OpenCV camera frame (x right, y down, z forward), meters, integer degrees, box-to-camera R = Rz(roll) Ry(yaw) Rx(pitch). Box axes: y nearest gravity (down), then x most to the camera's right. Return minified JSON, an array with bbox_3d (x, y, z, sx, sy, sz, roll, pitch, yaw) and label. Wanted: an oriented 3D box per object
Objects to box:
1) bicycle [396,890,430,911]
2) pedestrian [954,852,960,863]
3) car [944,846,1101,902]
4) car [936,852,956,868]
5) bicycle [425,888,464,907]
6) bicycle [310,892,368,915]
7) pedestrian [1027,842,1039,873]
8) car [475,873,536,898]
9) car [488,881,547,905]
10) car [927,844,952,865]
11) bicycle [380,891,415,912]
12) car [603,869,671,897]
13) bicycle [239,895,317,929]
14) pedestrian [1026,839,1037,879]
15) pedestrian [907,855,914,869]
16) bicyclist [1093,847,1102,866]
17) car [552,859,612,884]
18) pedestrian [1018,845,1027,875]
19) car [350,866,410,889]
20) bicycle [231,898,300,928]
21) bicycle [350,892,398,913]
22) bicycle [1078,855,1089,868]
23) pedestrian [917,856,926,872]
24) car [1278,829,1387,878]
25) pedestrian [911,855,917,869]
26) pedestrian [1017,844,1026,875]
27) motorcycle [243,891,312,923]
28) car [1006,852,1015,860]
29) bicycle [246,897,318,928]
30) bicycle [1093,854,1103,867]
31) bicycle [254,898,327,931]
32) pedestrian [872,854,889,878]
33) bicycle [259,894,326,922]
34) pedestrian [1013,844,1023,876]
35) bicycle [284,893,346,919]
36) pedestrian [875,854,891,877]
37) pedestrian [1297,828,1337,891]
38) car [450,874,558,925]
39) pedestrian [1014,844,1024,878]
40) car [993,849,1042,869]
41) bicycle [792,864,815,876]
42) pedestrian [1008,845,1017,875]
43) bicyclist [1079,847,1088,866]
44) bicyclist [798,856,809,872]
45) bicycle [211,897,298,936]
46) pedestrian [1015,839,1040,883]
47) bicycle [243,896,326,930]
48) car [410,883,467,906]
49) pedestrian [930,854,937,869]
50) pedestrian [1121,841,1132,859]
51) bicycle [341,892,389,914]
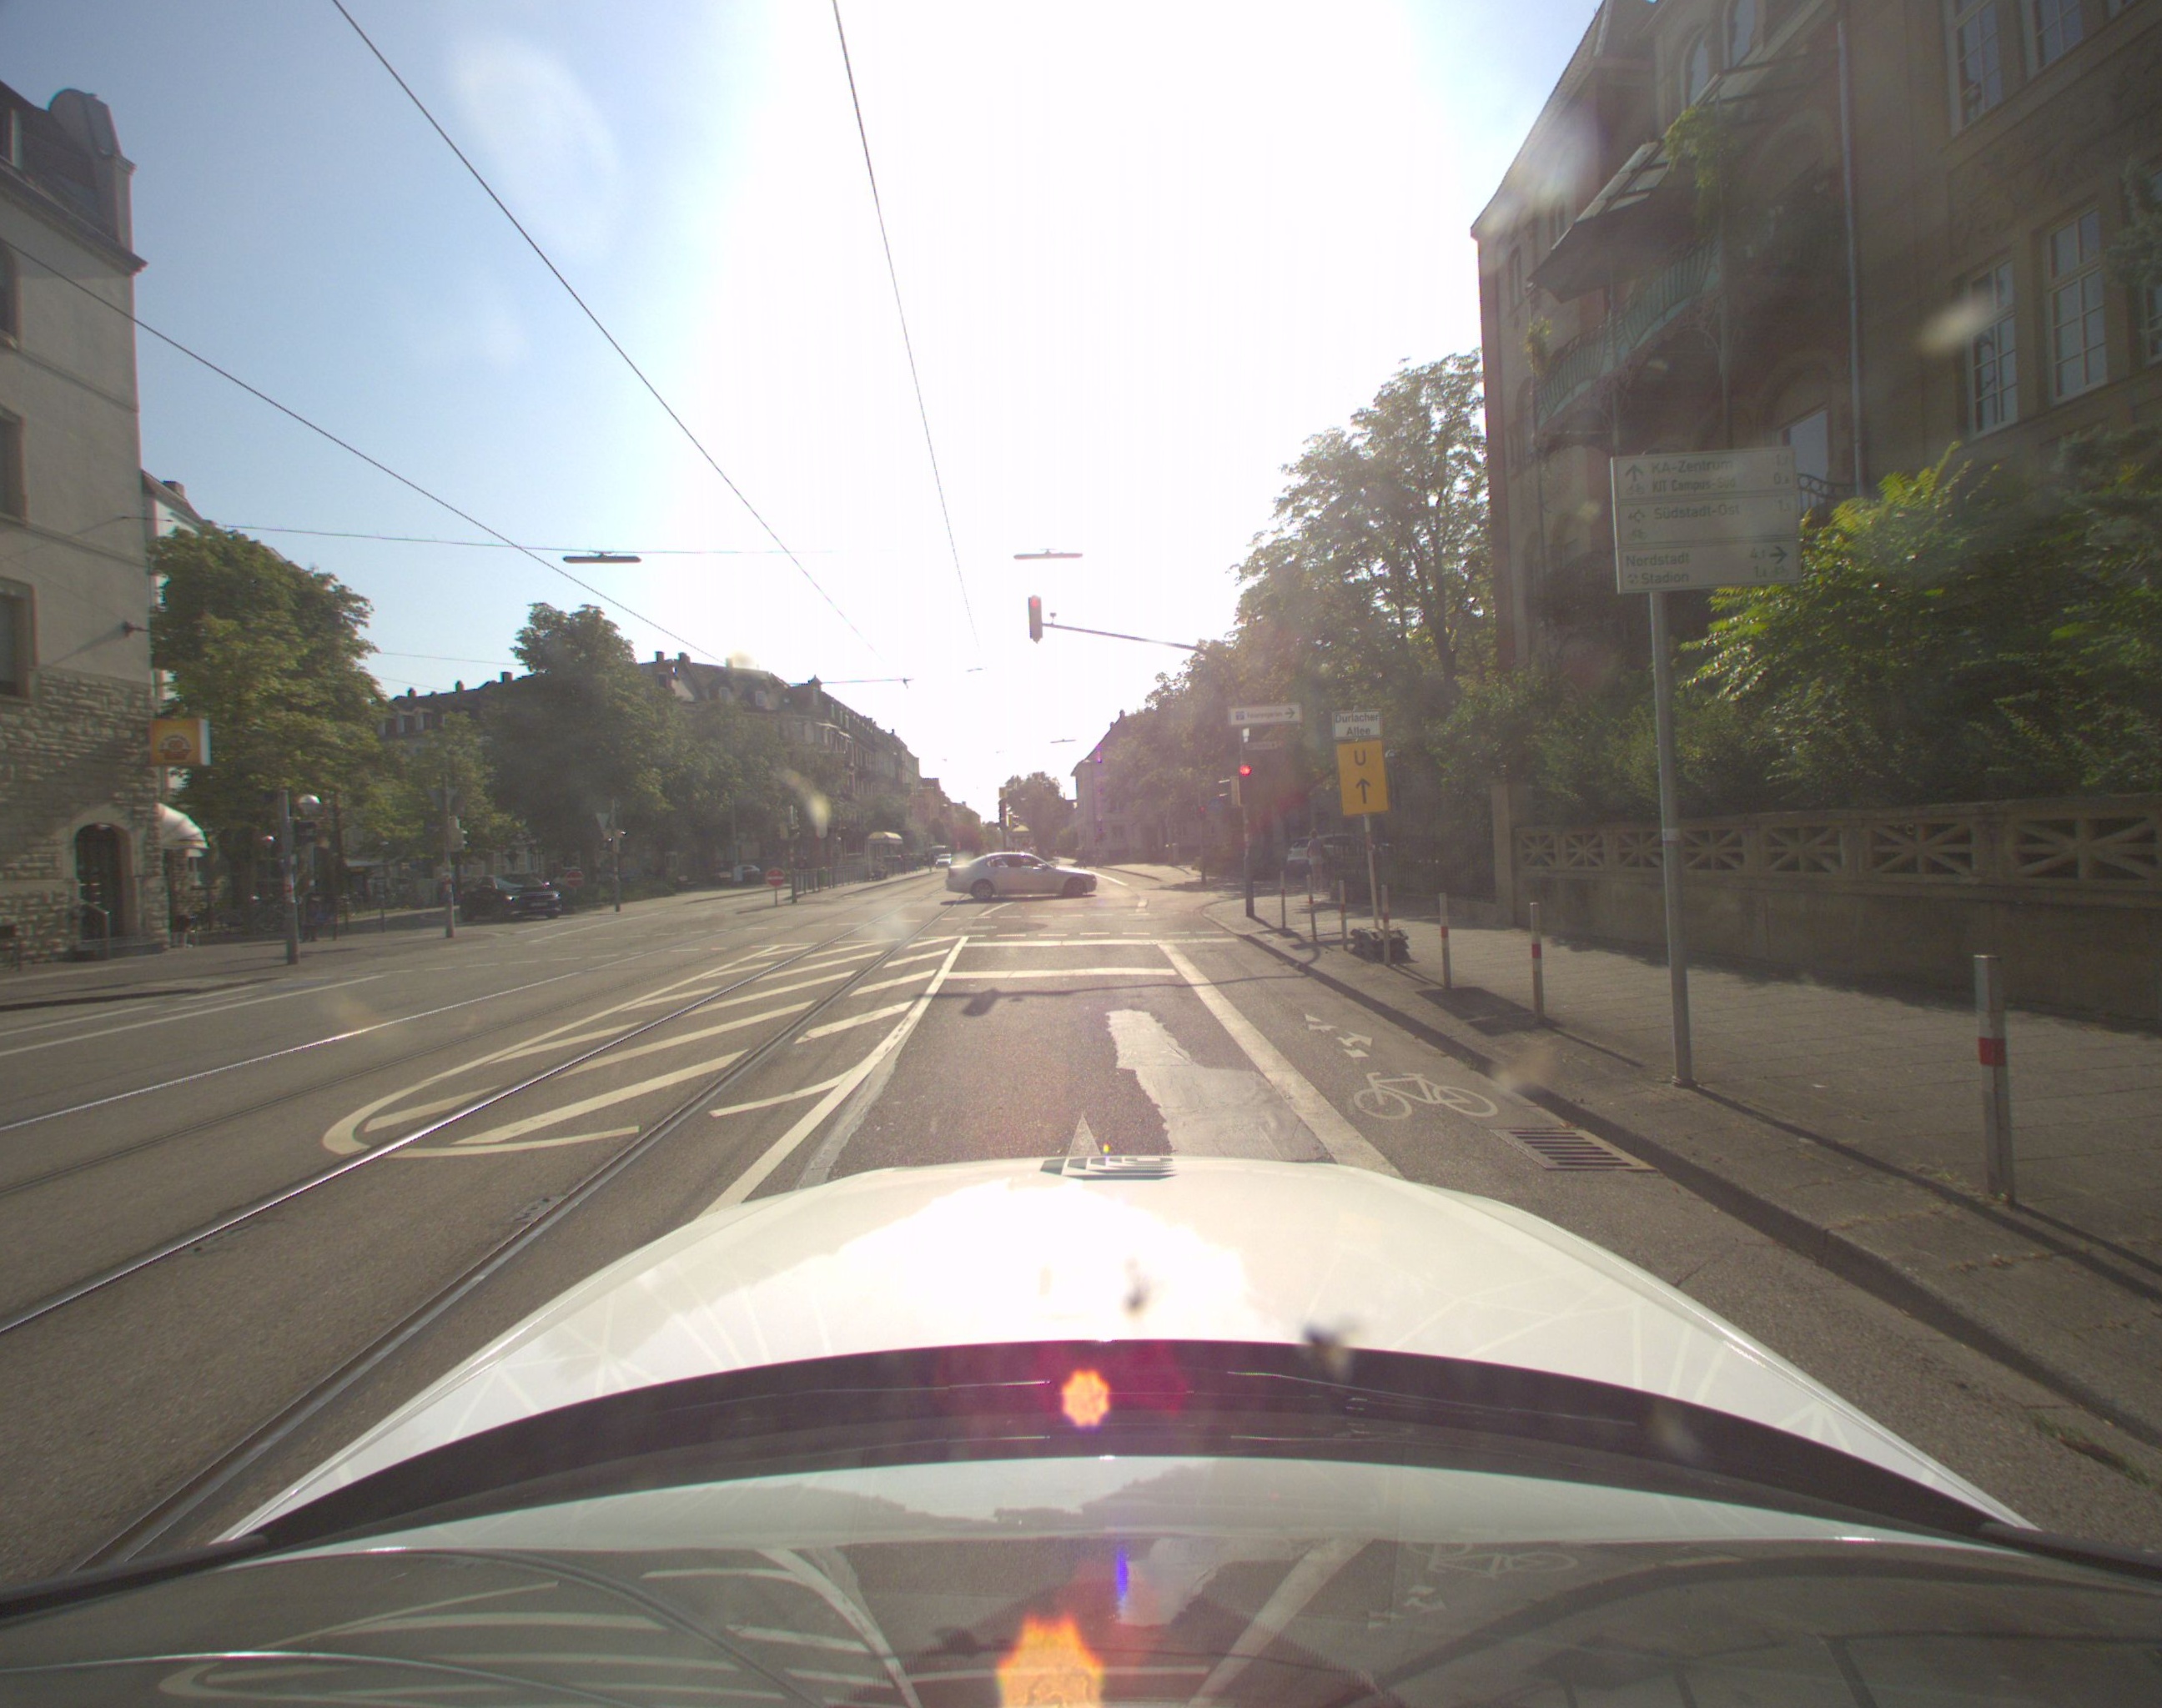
[{"bbox_3d":[-36.215,2.520,44.182,0.423,0.978,1.767,-3,1,-4],"label":"bicycle"},{"bbox_3d":[-20.960,0.553,137.734,0.751,1.731,0.768,-3,0,-13],"label":"pedestrian"},{"bbox_3d":[-1.886,0.609,26.023,4.769,1.466,1.865,-3,1,-9],"label":"car"},{"bbox_3d":[-15.433,0.699,93.160,1.797,1.653,3.639,-3,0,-3],"label":"car"},{"bbox_3d":[-37.075,2.529,47.441,1.757,0.978,0.606,-3,0,3],"label":"bicycle"},{"bbox_3d":[-35.380,2.351,38.854,1.880,0.935,0.634,-2,0,-22],"label":"bicycle"},{"bbox_3d":[-2.736,0.196,46.304,0.707,1.759,0.533,0,2,-4],"label":"pedestrian"},{"bbox_3d":[-46.924,2.564,66.448,3.955,1.828,2.009,-3,0,17],"label":"car"},{"bbox_3d":[-48.224,3.318,69.705,3.955,1.828,2.009,-3,0,17],"label":"car"},{"bbox_3d":[-18.765,0.071,108.136,2.340,2.661,5.104,-3,0,0],"label":"car"},{"bbox_3d":[-36.546,2.533,43.571,0.423,0.978,1.767,-3,1,-4],"label":"bicycle"},{"bbox_3d":[-33.869,2.182,62.171,3.980,1.828,1.997,-3,0,-4],"label":"car"},{"bbox_3d":[-27.881,2.002,28.322,1.889,1.034,0.563,-2,0,-43],"label":"bicycle"},{"bbox_3d":[-2.266,0.217,37.427,0.503,1.833,0.533,0,2,-4],"label":"pedestrian"},{"bbox_3d":[-21.111,1.011,100.639,0.751,1.731,0.768,-3,0,-13],"label":"pedestrian"},{"bbox_3d":[1.323,0.179,64.377,0.557,1.416,0.870,-3,0,-5],"label":"bicyclist"},{"bbox_3d":[-41.265,1.450,67.344,3.955,1.828,2.009,-3,0,17],"label":"car"},{"bbox_3d":[-3.489,0.334,48.874,0.503,1.759,0.533,0,2,-4],"label":"pedestrian"},{"bbox_3d":[-63.891,2.122,74.241,3.963,1.828,2.005,-3,0,9],"label":"car"},{"bbox_3d":[-30.628,2.199,30.614,1.815,0.977,0.652,-2,0,-45],"label":"bicycle"},{"bbox_3d":[-37.783,2.568,43.543,1.774,0.978,0.600,-3,1,-27],"label":"bicycle"},{"bbox_3d":[0.197,0.551,64.841,0.628,0.978,1.767,-3,1,-5],"label":"bicycle"},{"bbox_3d":[-17.496,1.069,89.508,0.748,1.731,0.771,-3,0,-2],"label":"pedestrian"},{"bbox_3d":[9.753,-0.038,31.408,4.356,1.630,1.976,-4,1,-41],"label":"car"},{"bbox_3d":[-21.296,1.051,103.899,0.751,1.731,0.768,-3,0,-13],"label":"pedestrian"},{"bbox_3d":[-3.419,0.336,46.878,0.542,1.759,0.533,0,2,-4],"label":"pedestrian"},{"bbox_3d":[-32.327,2.115,32.784,1.884,1.154,0.601,-2,0,-38],"label":"motorcycle"},{"bbox_3d":[-15.314,0.472,177.581,1.797,1.653,3.639,-3,0,-3],"label":"car"},{"bbox_3d":[-28.821,2.089,29.389,1.815,0.984,0.563,-2,0,-45],"label":"bicycle"},{"bbox_3d":[1.348,0.515,64.366,0.557,0.978,1.853,-3,1,-5],"label":"bicycle"},{"bbox_3d":[-25.629,1.957,26.435,0.473,0.920,1.618,-3,0,26],"label":"bicycle"},{"bbox_3d":[-12.085,0.730,49.118,0.827,1.358,0.774,-3,0,-8],"label":"pedestrian"},{"bbox_3d":[-32.699,2.223,33.811,1.887,1.027,0.656,-2,0,-38],"label":"bicycle"},{"bbox_3d":[-3.580,0.351,46.057,0.542,1.759,0.533,0,2,-4],"label":"pedestrian"},{"bbox_3d":[-34.069,2.298,36.241,1.910,0.980,0.678,-2,0,-38],"label":"bicycle"},{"bbox_3d":[-12.169,0.729,50.091,0.827,1.358,0.774,-3,0,-8],"label":"pedestrian"},{"bbox_3d":[6.722,0.143,23.209,0.751,1.731,0.768,-3,0,-13],"label":"pedestrian"},{"bbox_3d":[-19.754,1.533,27.838,4.173,1.515,1.622,-2,2,35],"label":"car"},{"bbox_3d":[-3.198,0.350,42.071,0.503,1.759,0.533,0,2,-4],"label":"pedestrian"},{"bbox_3d":[-5.940,0.458,76.428,4.309,1.569,1.999,-3,0,-1],"label":"car"},{"bbox_3d":[-24.247,1.366,71.142,1.858,0.958,0.544,-3,1,-22],"label":"bicycle"},{"bbox_3d":[-4.063,0.350,48.254,0.531,1.759,0.544,0,2,-3],"label":"pedestrian"},{"bbox_3d":[0.185,0.189,64.837,0.628,1.507,0.677,-3,0,-6],"label":"bicyclist"},{"bbox_3d":[-24.219,0.847,71.158,0.822,1.328,0.544,-3,0,-21],"label":"bicyclist"},{"bbox_3d":[-26.504,1.986,26.149,0.563,1.113,1.887,-3,0,17],"label":"bicycle"},{"bbox_3d":[-2.171,0.285,33.163,0.693,1.724,0.753,1,3,29],"label":"pedestrian"},{"bbox_3d":[-26.748,1.961,27.376,0.562,1.003,1.890,-3,0,33],"label":"bicycle"},{"bbox_3d":[-57.201,3.586,72.494,3.955,1.828,2.009,-3,0,17],"label":"car"},{"bbox_3d":[-17.922,0.879,99.220,0.751,1.731,0.768,-3,0,-13],"label":"pedestrian"},{"bbox_3d":[4.611,-0.391,82.498,0.884,1.740,0.780,-3,0,19],"label":"pedestrian"},{"bbox_3d":[-37.600,2.571,42.778,1.774,0.978,0.515,-3,0,-26],"label":"bicycle"}]
